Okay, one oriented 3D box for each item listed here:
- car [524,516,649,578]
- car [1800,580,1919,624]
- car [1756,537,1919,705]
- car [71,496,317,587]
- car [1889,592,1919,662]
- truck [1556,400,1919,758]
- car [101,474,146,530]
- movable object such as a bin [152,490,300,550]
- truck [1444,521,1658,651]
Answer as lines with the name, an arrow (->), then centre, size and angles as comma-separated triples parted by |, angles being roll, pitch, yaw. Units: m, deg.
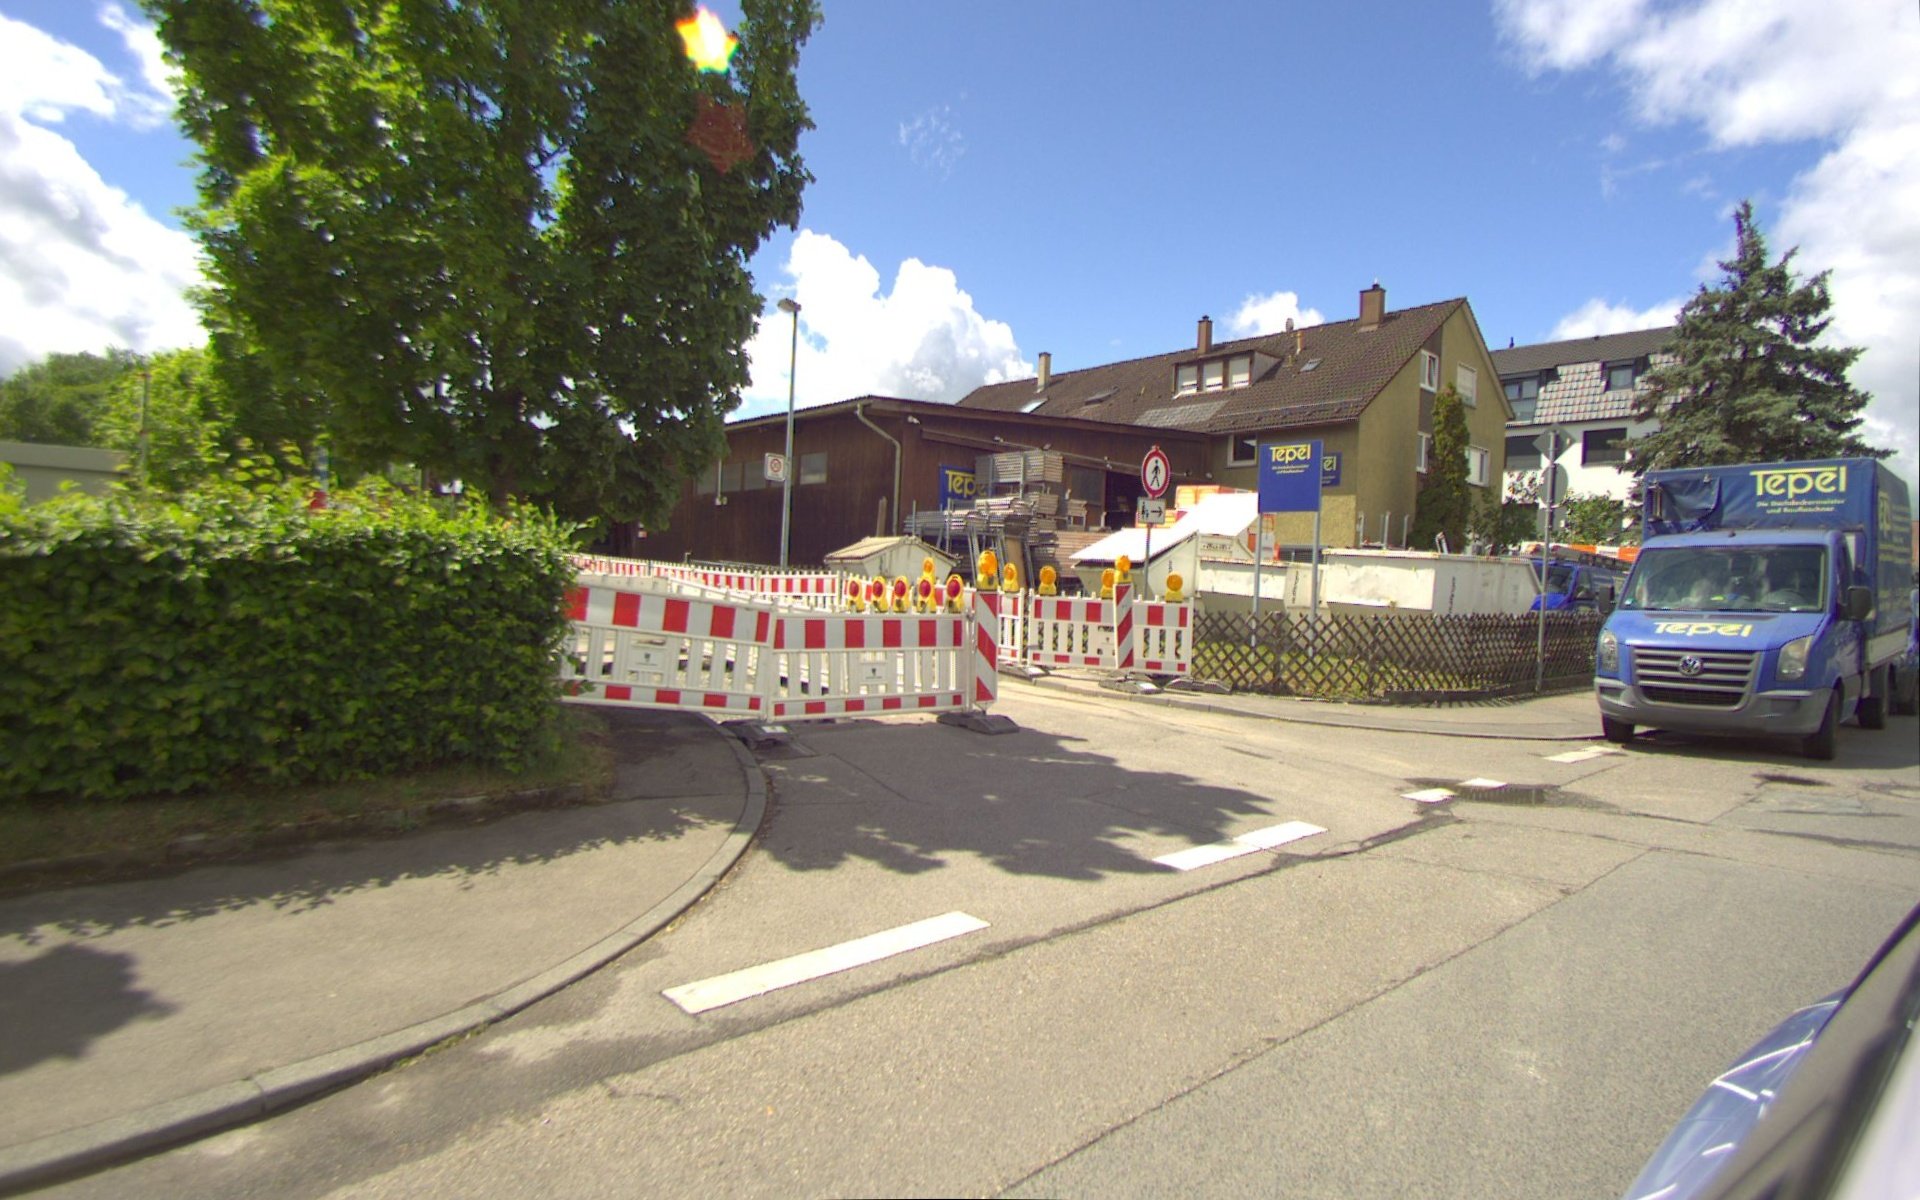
car -> -13.817, -1.894, 37.562 | 3.930, 2.039, 1.906 | 1, -1, -41
car -> 42.920, 0.061, 48.142 | 1.834, 1.673, 4.203 | 1, 5, -41
car -> 13.718, 0.297, 15.253 | 4.385, 2.197, 1.877 | 1, -1, -40
car -> -15.797, -1.134, 21.047 | 3.927, 1.605, 1.750 | 1, -1, -39
car -> 22.759, 0.644, 23.153 | 3.930, 1.526, 1.777 | 1, 2, -41
truck -> 9.246, -0.156, 11.675 | 5.935, 3.137, 2.324 | 1, -1, -41
car -> -51.614, -5.971, 62.385 | 1.900, 2.960, 5.163 | 1, -1, -42
movable object such as a bin -> -42.371, -4.522, 58.484 | 6.578, 2.797, 3.936 | 1, -1, -41
truck -> 11.344, -0.203, 19.240 | 5.291, 2.107, 1.833 | 3, 3, -42
